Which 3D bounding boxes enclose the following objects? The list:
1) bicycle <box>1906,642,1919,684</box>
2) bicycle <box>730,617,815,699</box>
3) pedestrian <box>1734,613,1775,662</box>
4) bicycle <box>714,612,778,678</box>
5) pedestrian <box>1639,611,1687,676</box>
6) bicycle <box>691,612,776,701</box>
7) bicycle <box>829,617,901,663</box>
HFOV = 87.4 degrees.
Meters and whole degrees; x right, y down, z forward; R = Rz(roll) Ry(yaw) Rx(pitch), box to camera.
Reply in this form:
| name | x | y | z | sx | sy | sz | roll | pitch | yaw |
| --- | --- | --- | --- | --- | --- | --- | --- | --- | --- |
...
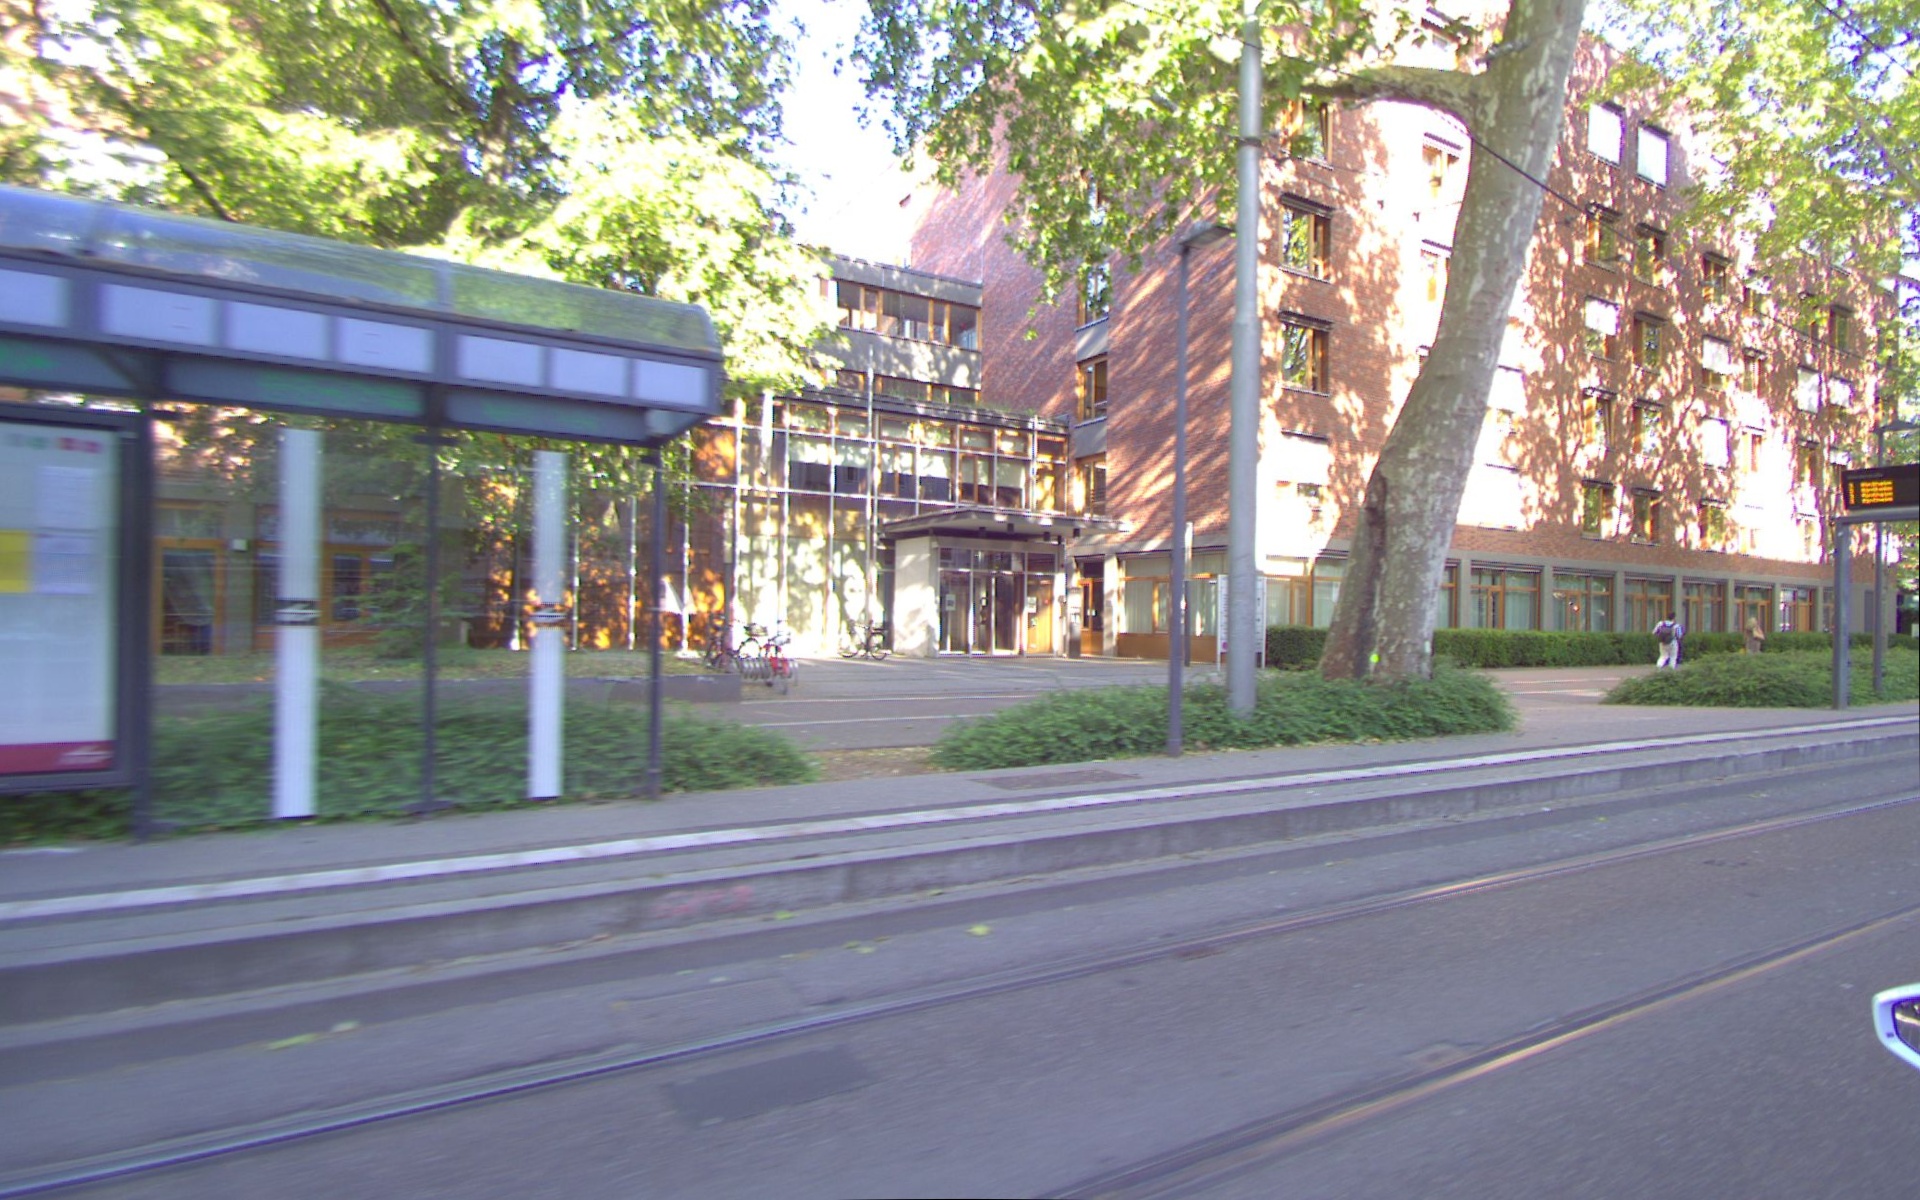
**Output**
| name | x | y | z | sx | sy | sz | roll | pitch | yaw |
| --- | --- | --- | --- | --- | --- | --- | --- | --- | --- |
| bicycle | 30.509 | 1.966 | 31.114 | 2.943 | 1.257 | 0.950 | 2 | 0 | -30 |
| bicycle | -3.127 | 0.911 | 16.554 | 0.674 | 1.182 | 2.330 | 2 | 0 | -29 |
| pedestrian | 27.082 | 1.285 | 34.238 | 0.935 | 1.626 | 0.771 | 2 | 0 | -30 |
| bicycle | -4.214 | 0.857 | 19.860 | 0.668 | 1.235 | 1.501 | 2 | 0 | 12 |
| pedestrian | 18.817 | 1.159 | 26.899 | 0.850 | 1.694 | 0.732 | 2 | 0 | -30 |
| bicycle | -3.734 | 0.874 | 16.358 | 0.674 | 1.235 | 2.447 | 2 | 1 | -29 |
| bicycle | -2.439 | 1.000 | 25.642 | 1.920 | 1.087 | 0.760 | 1 | 0 | 45 |
